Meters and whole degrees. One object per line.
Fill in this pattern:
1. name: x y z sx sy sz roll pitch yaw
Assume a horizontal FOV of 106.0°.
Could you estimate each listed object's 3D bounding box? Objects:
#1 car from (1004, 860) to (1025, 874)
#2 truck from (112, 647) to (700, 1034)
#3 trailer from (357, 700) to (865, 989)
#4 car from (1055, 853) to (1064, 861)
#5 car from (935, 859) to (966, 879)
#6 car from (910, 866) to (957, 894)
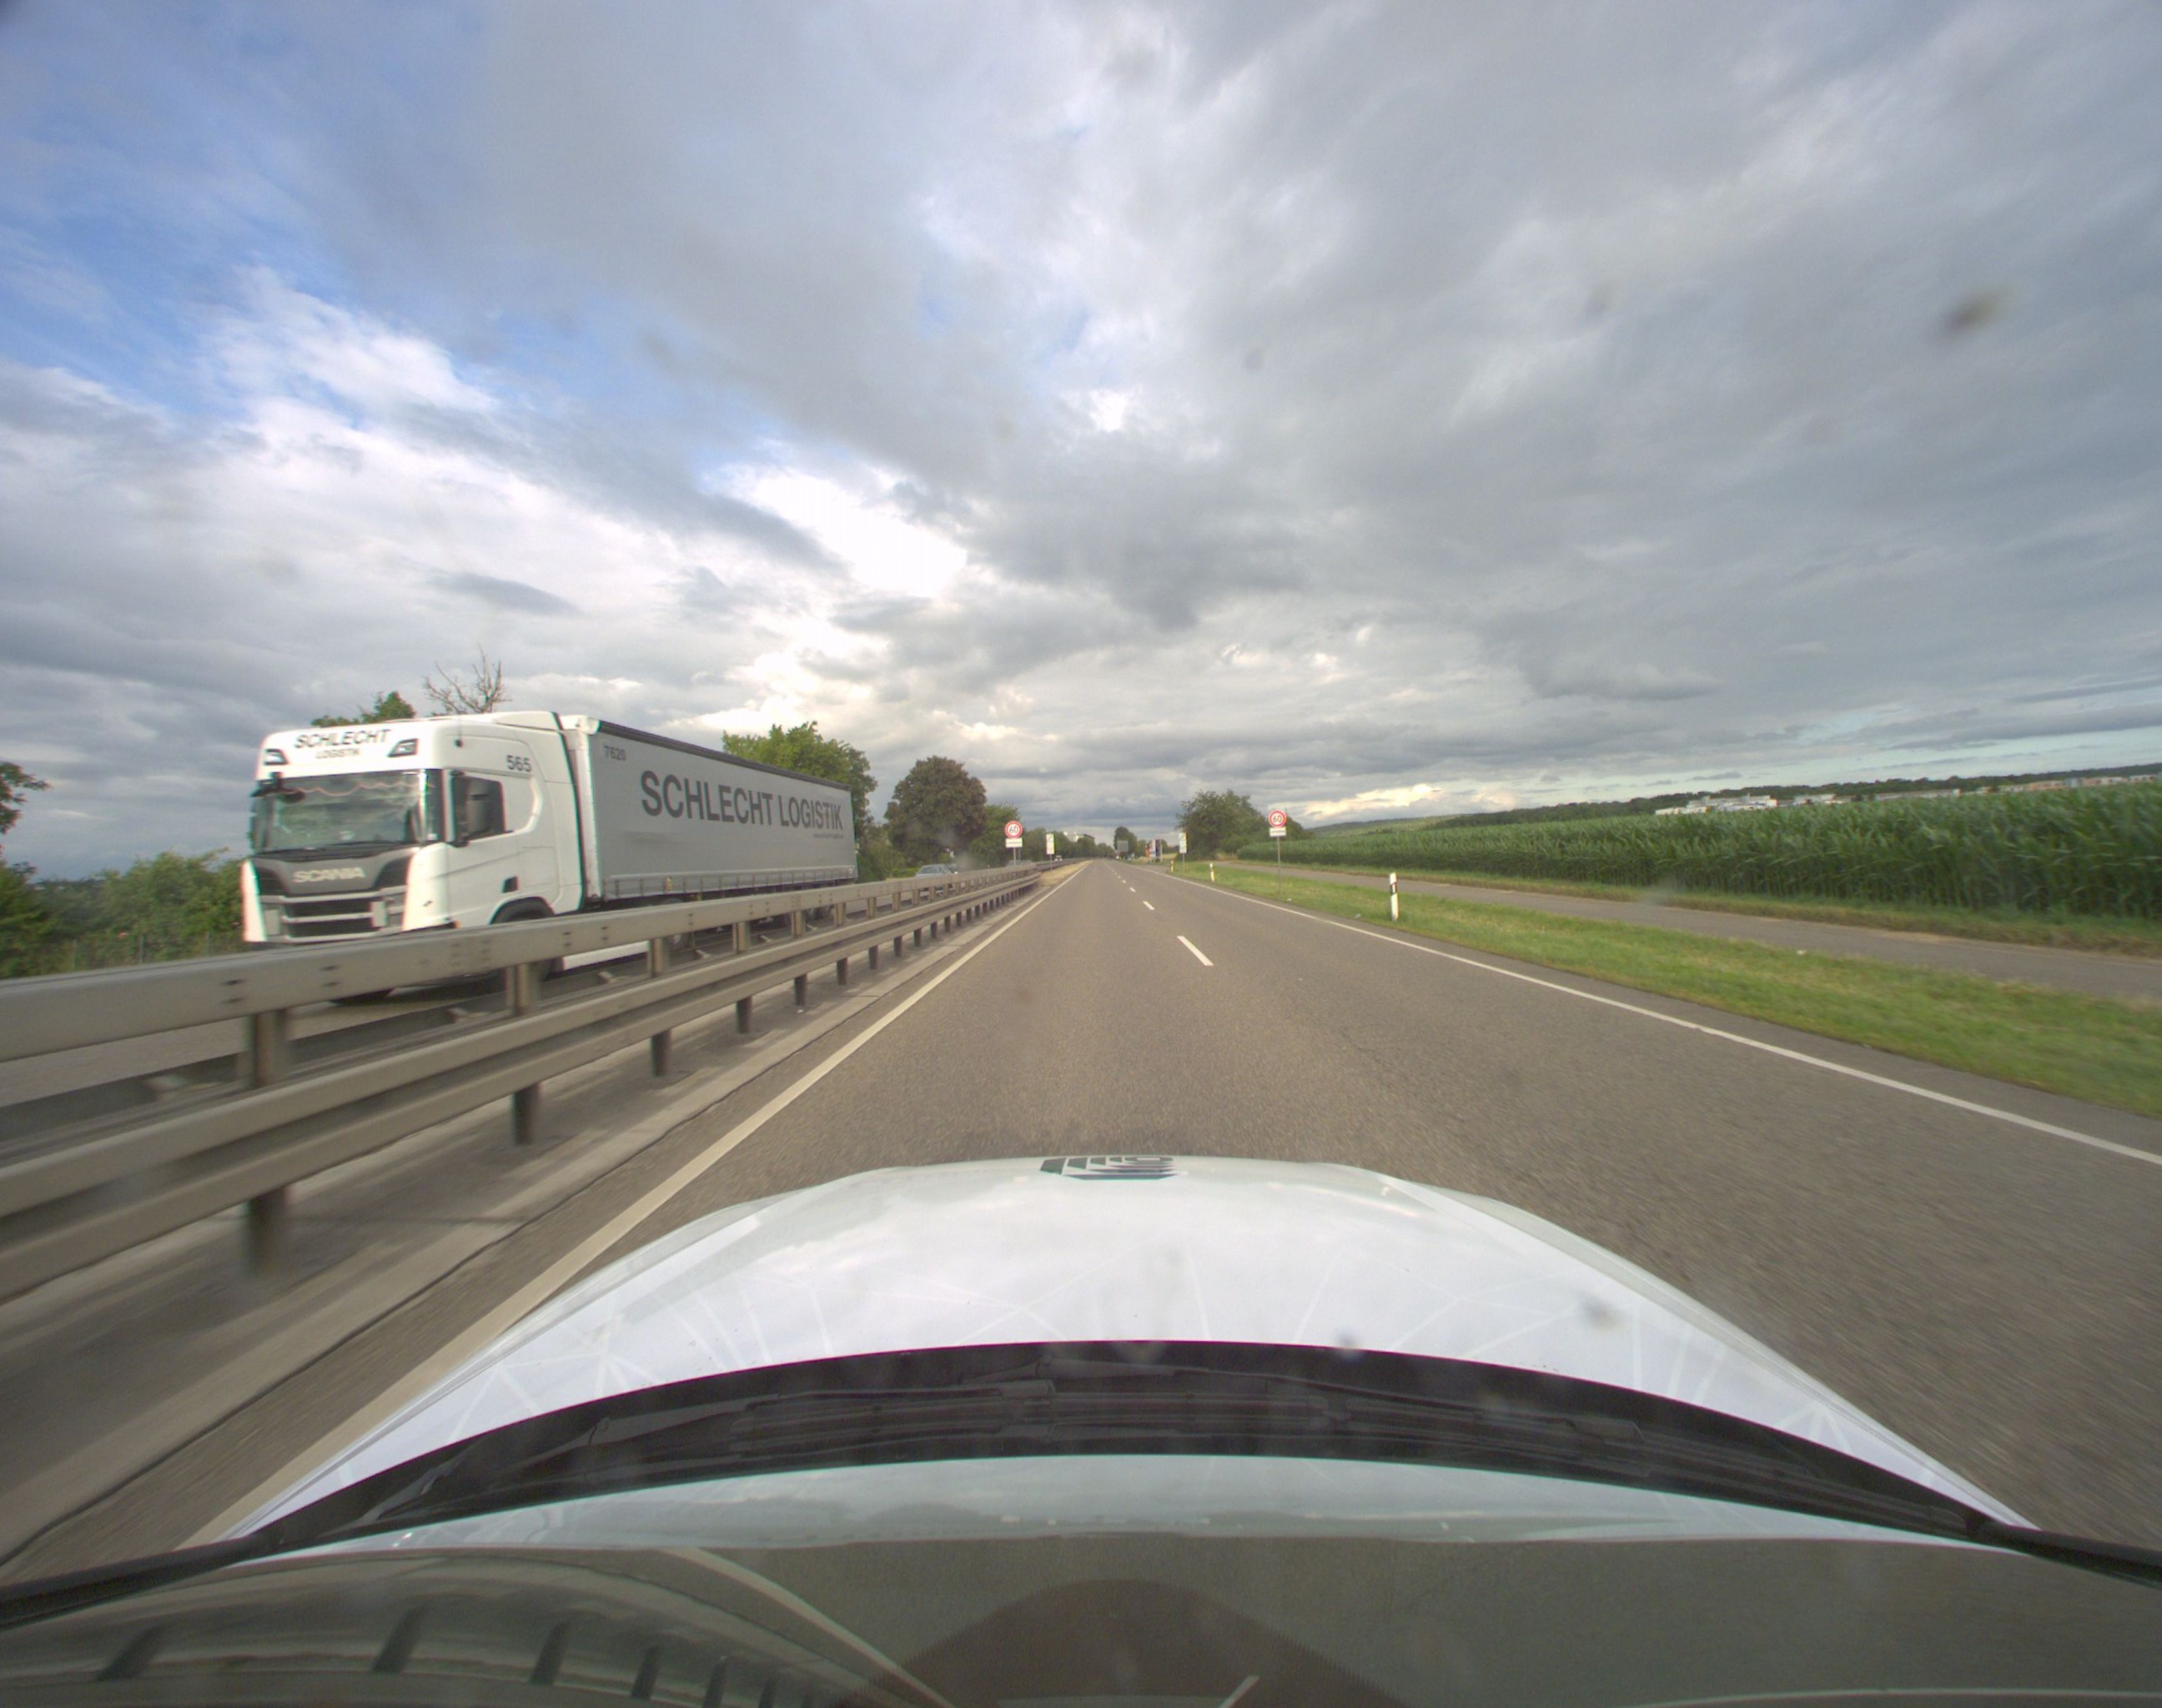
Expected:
1. car: -7.597 1.438 92.882 1.860 1.477 4.826 -3 0 1
2. truck: -9.080 -0.149 12.265 3.462 4.150 6.051 -4 0 1
3. trailer: -9.000 -0.136 19.332 3.453 4.150 13.919 -4 0 1
4. car: -5.871 0.904 224.494 1.986 2.140 5.322 -4 0 2
5. car: -10.971 1.234 68.860 1.783 1.573 4.161 -3 0 1
6. car: -8.332 1.453 46.323 1.783 1.386 4.161 -3 0 1
